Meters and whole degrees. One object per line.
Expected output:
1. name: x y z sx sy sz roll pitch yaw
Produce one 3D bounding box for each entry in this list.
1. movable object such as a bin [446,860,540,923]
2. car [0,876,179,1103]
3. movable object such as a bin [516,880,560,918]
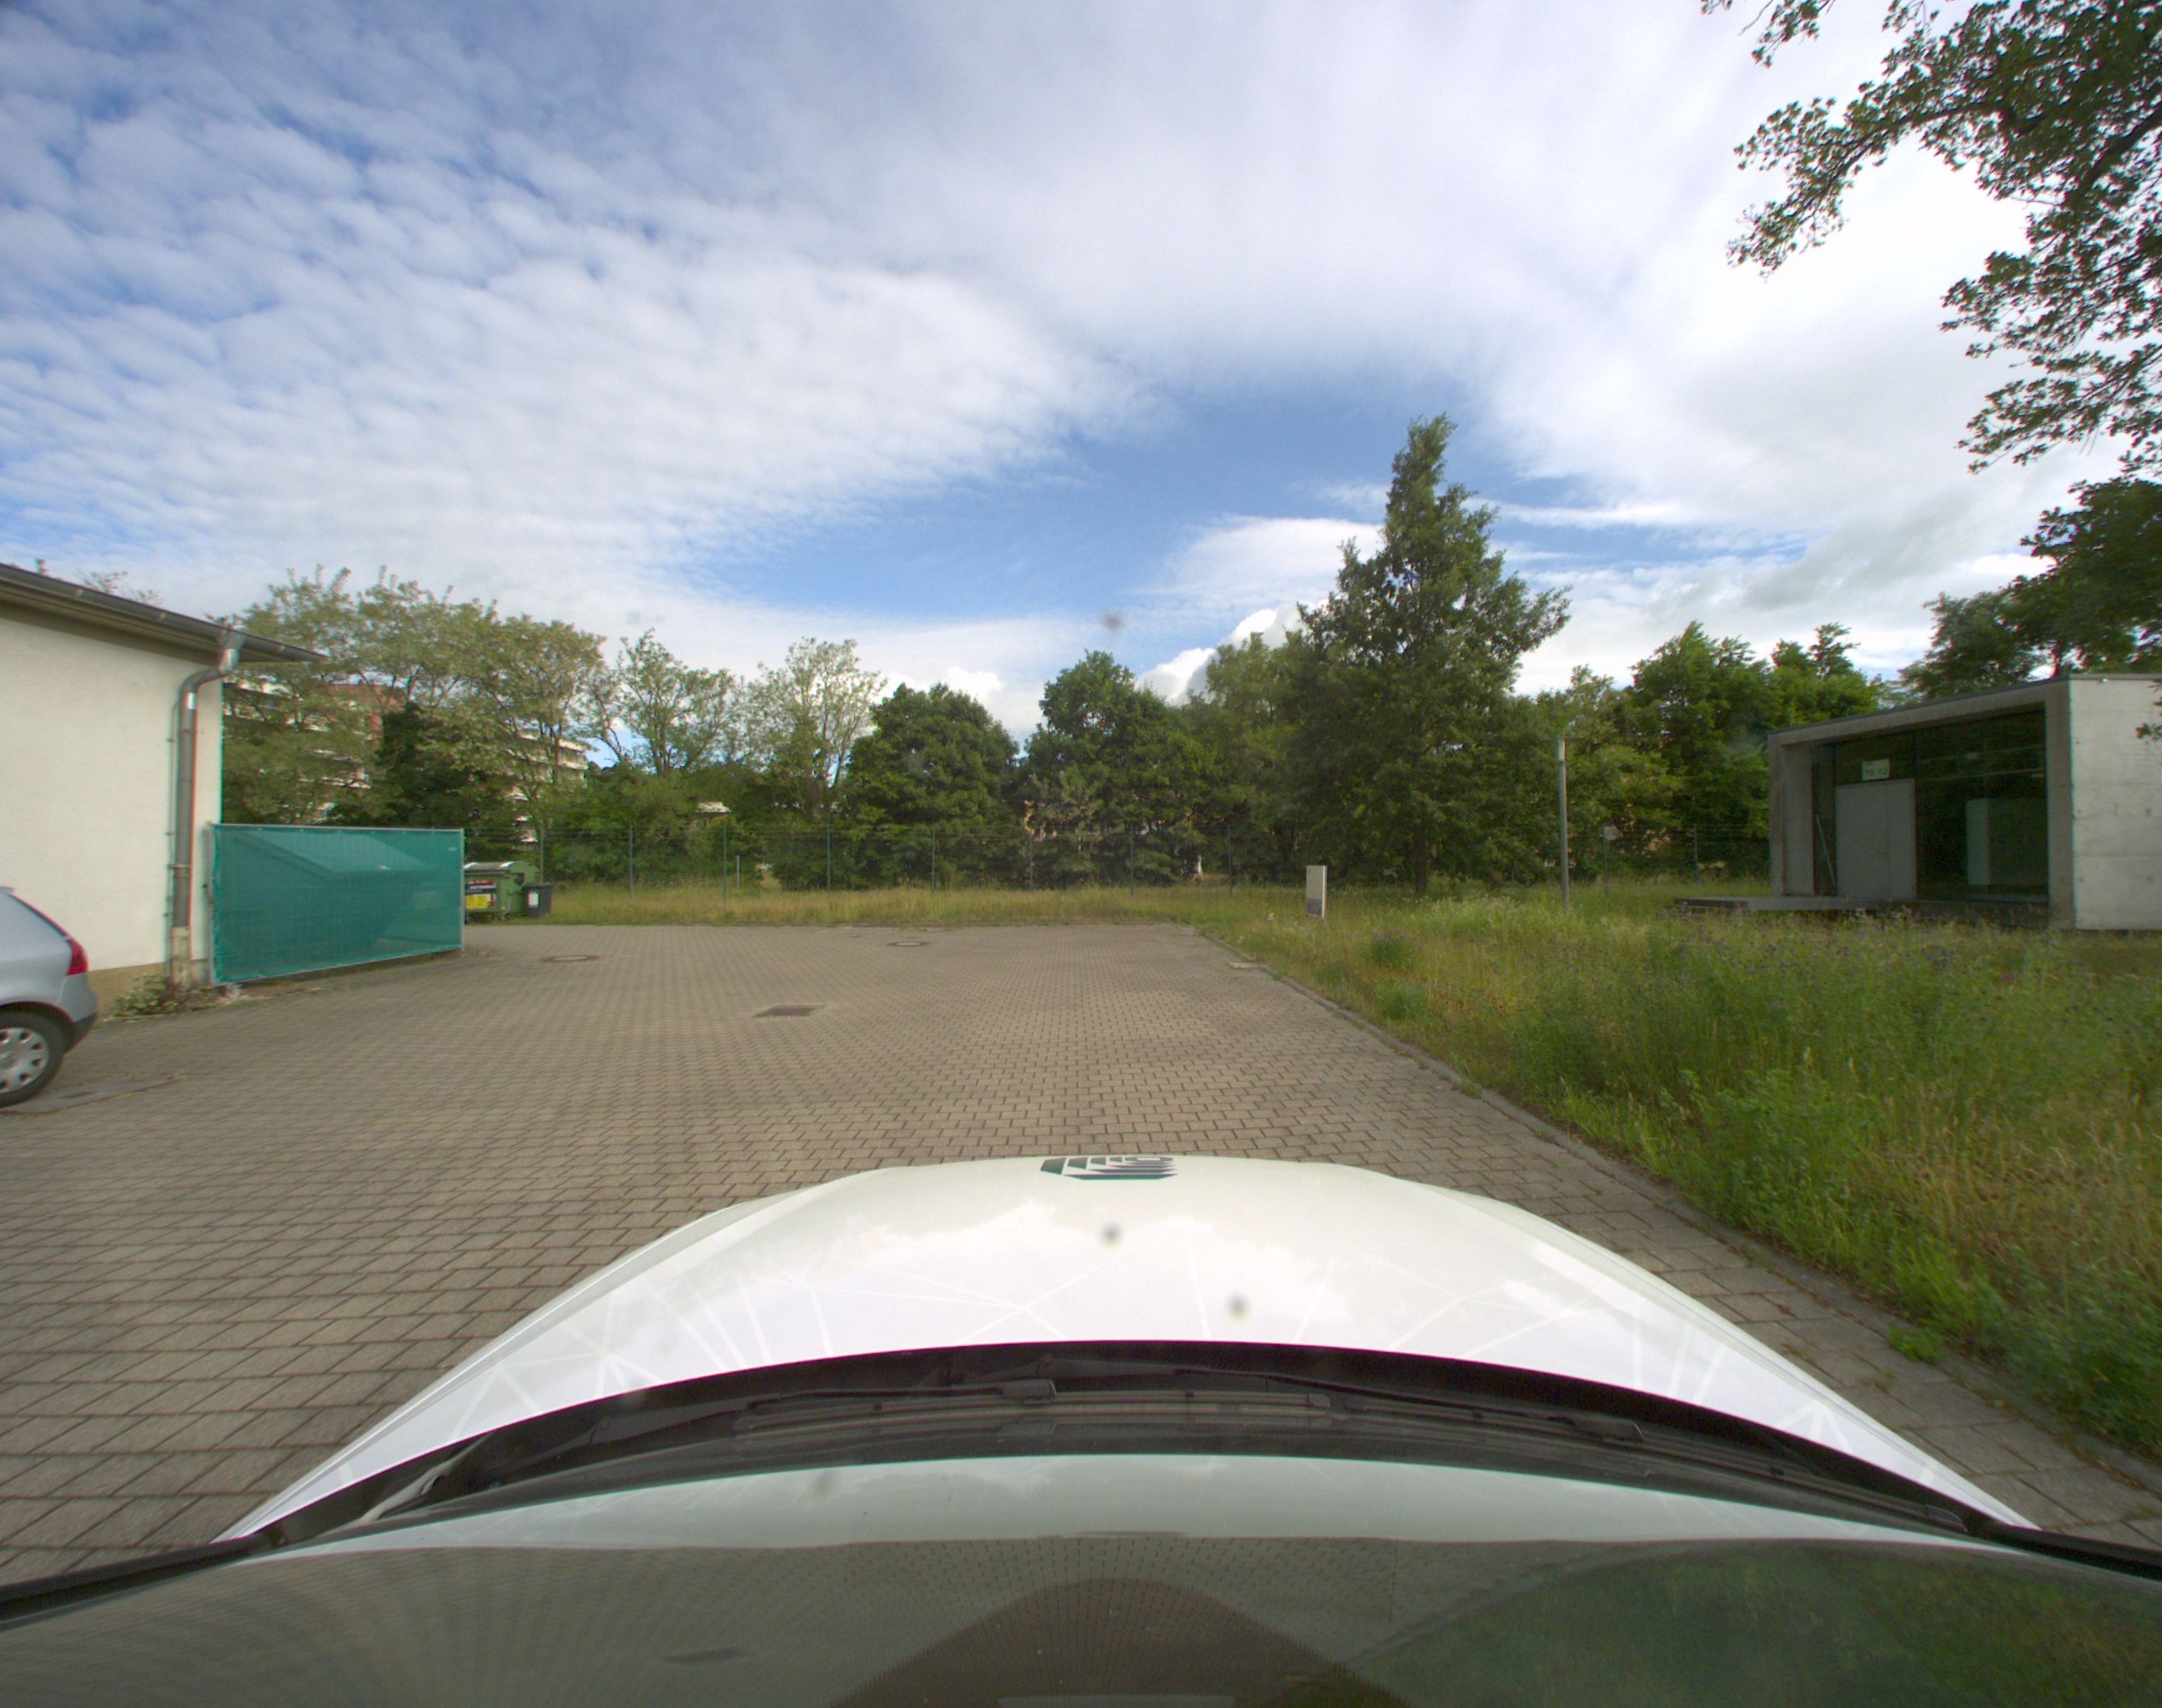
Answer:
1. movable object such as a bin: -13.740 0.855 19.080 1.344 1.395 1.134 -1 -1 7
2. car: -7.879 0.890 4.077 1.919 1.439 4.364 -1 0 -2
3. movable object such as a bin: -12.746 1.048 19.122 0.580 0.866 0.603 -1 -1 7
